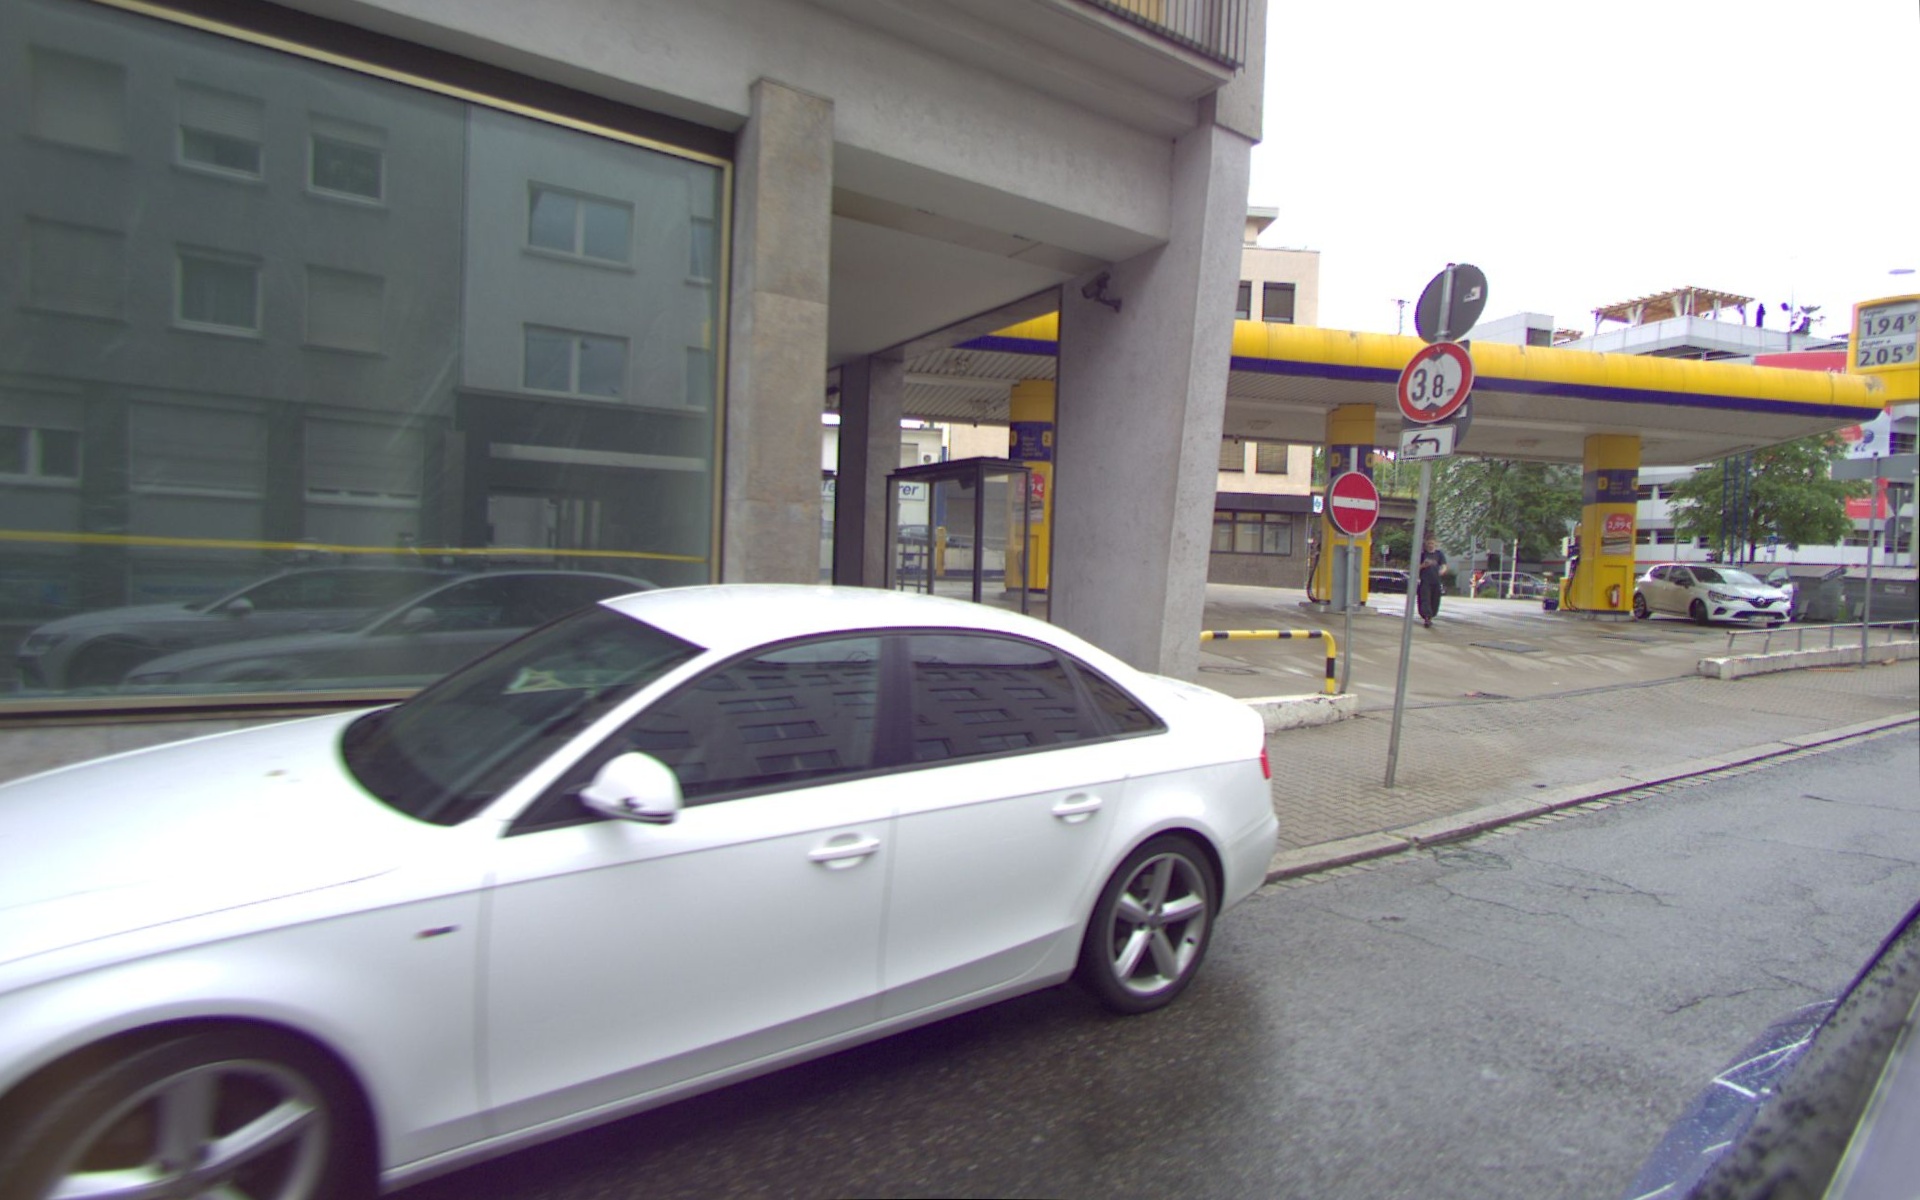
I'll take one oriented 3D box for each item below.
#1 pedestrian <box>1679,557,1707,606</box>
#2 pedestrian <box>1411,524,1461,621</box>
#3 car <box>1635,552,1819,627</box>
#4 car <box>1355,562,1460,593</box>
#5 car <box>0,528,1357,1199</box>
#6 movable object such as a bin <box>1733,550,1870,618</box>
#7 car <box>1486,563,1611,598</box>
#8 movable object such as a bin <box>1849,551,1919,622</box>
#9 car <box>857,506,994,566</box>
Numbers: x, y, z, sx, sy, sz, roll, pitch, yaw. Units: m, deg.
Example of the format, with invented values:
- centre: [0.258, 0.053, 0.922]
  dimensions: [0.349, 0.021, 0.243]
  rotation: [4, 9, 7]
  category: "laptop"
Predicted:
- centre: [23.234, -0.592, 32.100]
  dimensions: [0.567, 1.534, 0.477]
  rotation: [1, 0, 16]
  category: "pedestrian"
- centre: [9.065, -0.531, 19.305]
  dimensions: [0.650, 1.792, 0.528]
  rotation: [3, 4, 15]
  category: "pedestrian"
- centre: [17.849, -0.320, 23.800]
  dimensions: [1.718, 1.459, 3.991]
  rotation: [3, 4, 10]
  category: "car"
- centre: [24.789, -1.240, 56.199]
  dimensions: [1.964, 1.652, 5.035]
  rotation: [0, 1, -38]
  category: "car"
- centre: [-0.885, 0.613, 3.429]
  dimensions: [4.521, 1.418, 1.902]
  rotation: [0, 7, -36]
  category: "car"
- centre: [21.287, -0.430, 25.628]
  dimensions: [1.738, 1.574, 2.165]
  rotation: [0, 4, -33]
  category: "movable object such as a bin"
- centre: [29.299, -0.970, 50.493]
  dimensions: [1.964, 1.652, 5.035]
  rotation: [0, 1, -38]
  category: "car"
- centre: [22.552, -0.314, 23.692]
  dimensions: [1.738, 1.593, 2.165]
  rotation: [0, 3, -33]
  category: "movable object such as a bin"
- centre: [-1.196, -2.121, 34.177]
  dimensions: [4.489, 1.888, 2.002]
  rotation: [1, 1, -4]
  category: "car"
